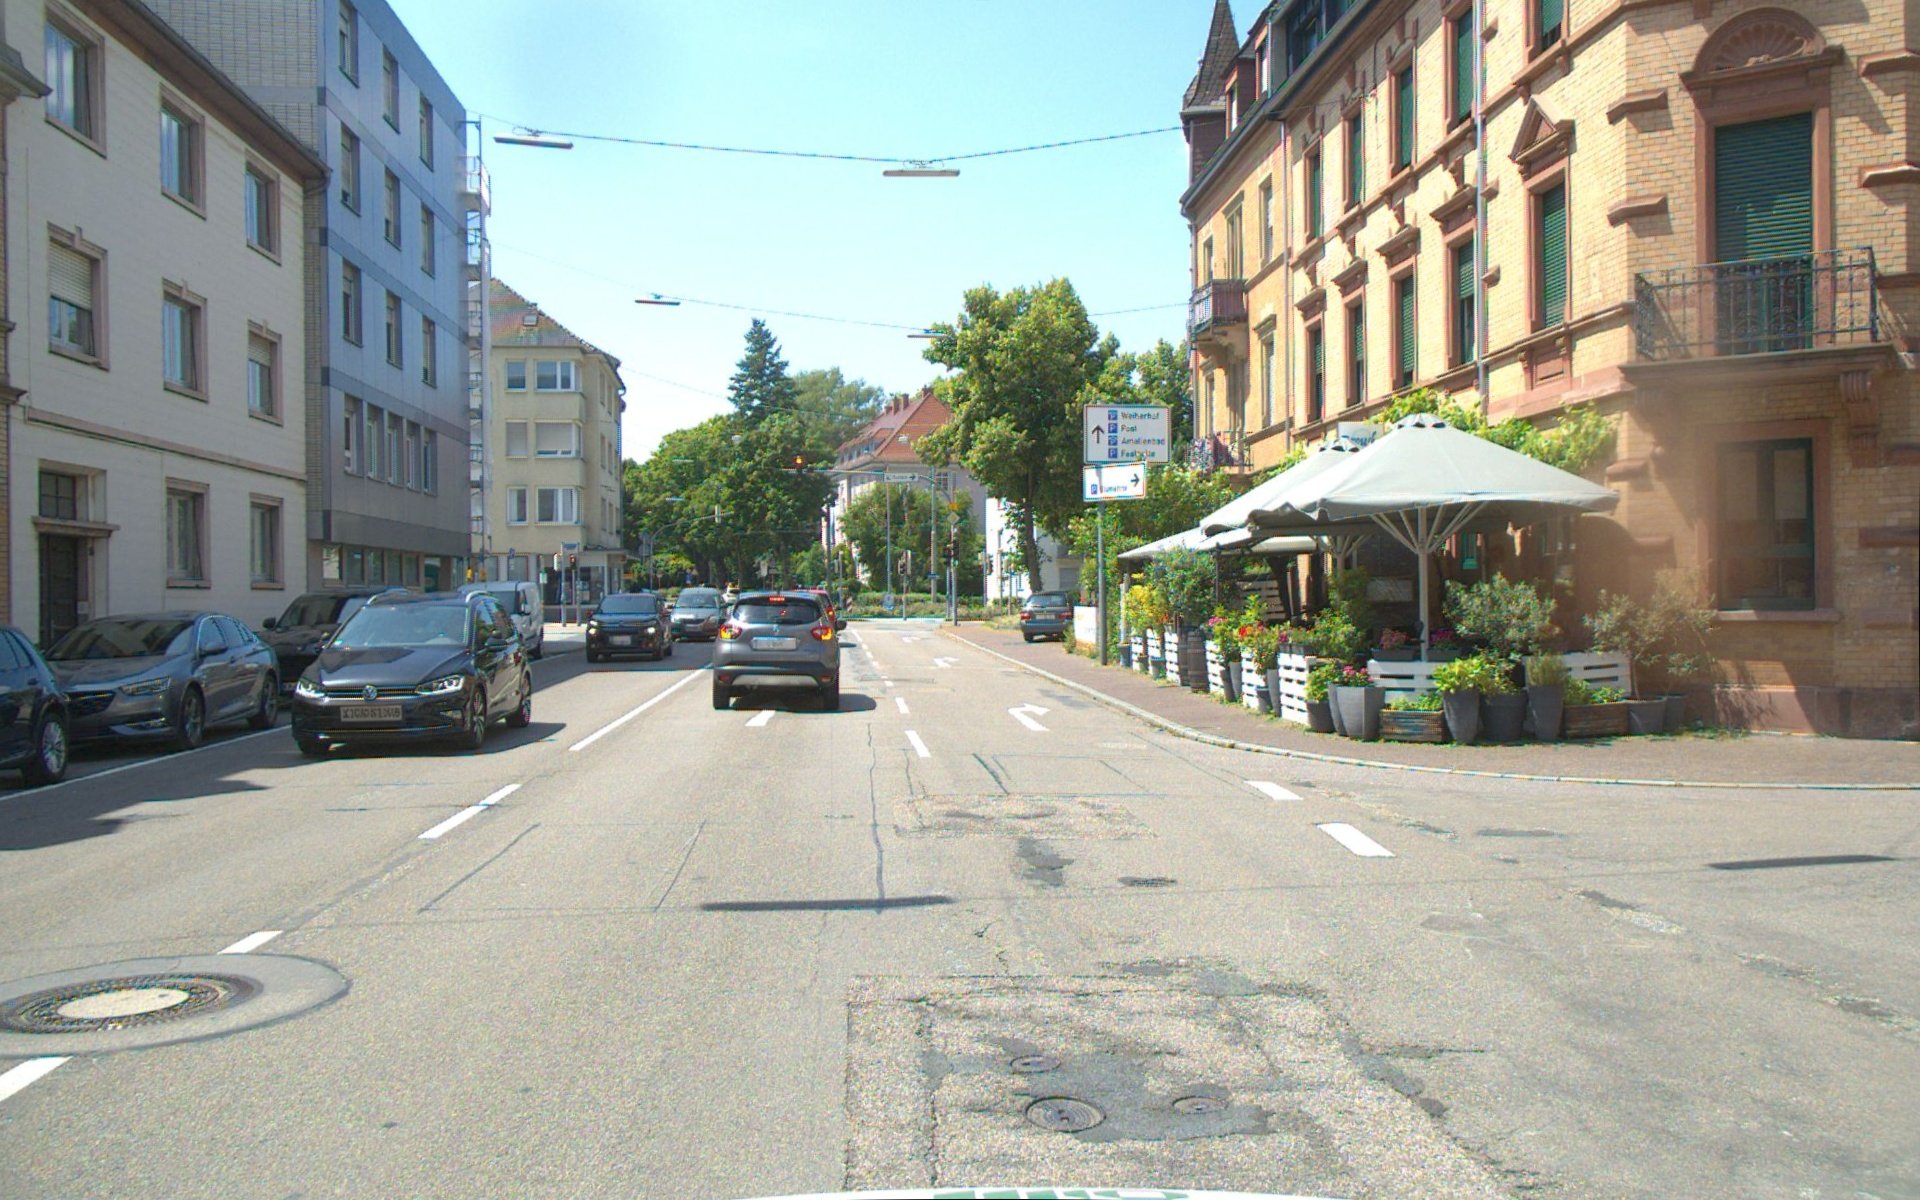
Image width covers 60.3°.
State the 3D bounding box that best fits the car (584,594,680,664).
[{"bbox_3d":[-7.533,0.630,38.329,1.668,1.503,4.130,-1,0,-4],"label":"car"}]

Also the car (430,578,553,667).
[{"bbox_3d":[-10.588,0.480,37.722,1.877,1.857,4.782,-2,0,-6],"label":"car"}]

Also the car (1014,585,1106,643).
[{"bbox_3d":[3.160,0.398,51.032,1.795,1.575,5.161,-1,1,15],"label":"car"}]

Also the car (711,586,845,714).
[{"bbox_3d":[-2.520,0.643,23.680,1.719,1.660,3.997,1,0,-4],"label":"car"}]

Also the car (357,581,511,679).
[{"bbox_3d":[-9.892,0.531,31.470,1.849,1.670,4.656,-2,0,-6],"label":"car"}]

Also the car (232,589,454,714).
[{"bbox_3d":[-9.257,0.706,25.273,1.848,1.670,4.813,-2,0,-4],"label":"car"}]

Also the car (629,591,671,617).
[{"bbox_3d":[-18.764,0.270,99.951,1.963,1.546,3.979,1,-1,-18],"label":"car"}]

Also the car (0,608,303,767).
[{"bbox_3d":[-9.004,0.866,18.515,1.830,1.431,4.829,-4,0,-7],"label":"car"}]

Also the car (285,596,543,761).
[{"bbox_3d":[-5.716,0.741,17.832,1.726,1.520,4.240,-1,0,-6],"label":"car"}]

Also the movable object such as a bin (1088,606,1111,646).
[{"bbox_3d":[3.876,0.723,45.995,0.635,1.090,0.637,0,0,5],"label":"movable object such as a bin"}]

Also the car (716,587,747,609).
[{"bbox_3d":[-19.399,-0.186,140.407,1.962,1.839,3.981,1,0,-17],"label":"car"}]

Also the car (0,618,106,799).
[{"bbox_3d":[-8.583,0.934,13.072,1.830,1.431,4.323,-4,0,-8],"label":"car"}]

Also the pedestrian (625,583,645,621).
[{"bbox_3d":[-16.690,0.105,85.009,0.920,1.965,0.972,0,0,-17],"label":"pedestrian"}]

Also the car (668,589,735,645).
[{"bbox_3d":[-7.901,0.489,50.782,1.668,1.602,4.308,-1,0,-4],"label":"car"}]

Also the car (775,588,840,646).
[{"bbox_3d":[-4.374,0.480,47.938,1.763,1.585,4.034,1,0,-4],"label":"car"}]
